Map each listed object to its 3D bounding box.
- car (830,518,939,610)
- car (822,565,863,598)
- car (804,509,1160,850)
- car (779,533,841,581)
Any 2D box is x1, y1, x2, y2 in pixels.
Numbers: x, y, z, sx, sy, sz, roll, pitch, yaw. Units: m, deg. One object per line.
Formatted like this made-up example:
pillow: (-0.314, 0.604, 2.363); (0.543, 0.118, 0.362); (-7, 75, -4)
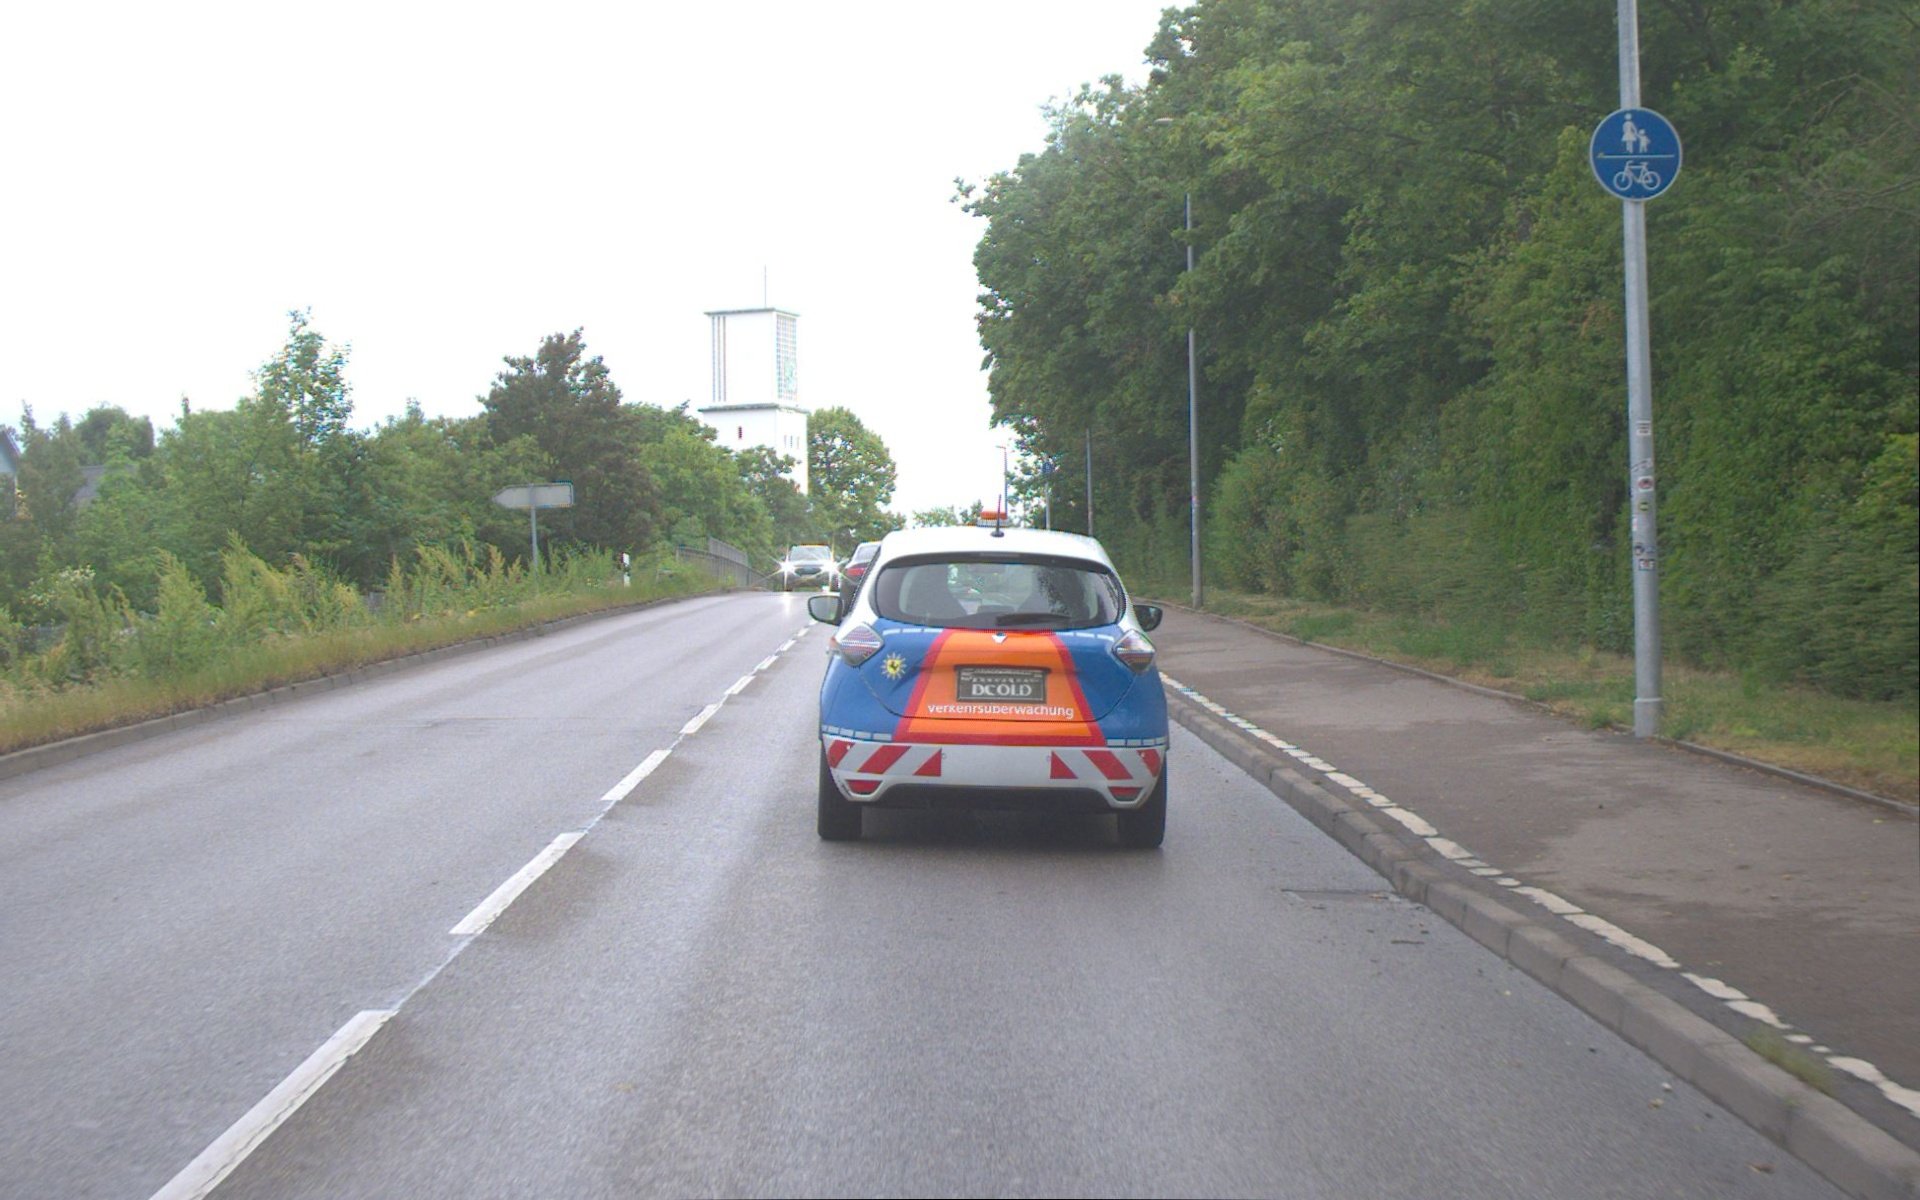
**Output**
car: (-1.403, -0.647, 62.573); (1.802, 1.584, 3.563); (-2, 0, -4)
car: (-5.559, -0.892, 162.863); (1.861, 1.498, 4.729); (0, 1, -1)
car: (0.076, 0.374, 17.822); (1.657, 1.587, 3.568); (0, 0, -1)
car: (-5.200, -1.512, 119.710); (1.869, 1.580, 4.414); (1, 1, 1)
